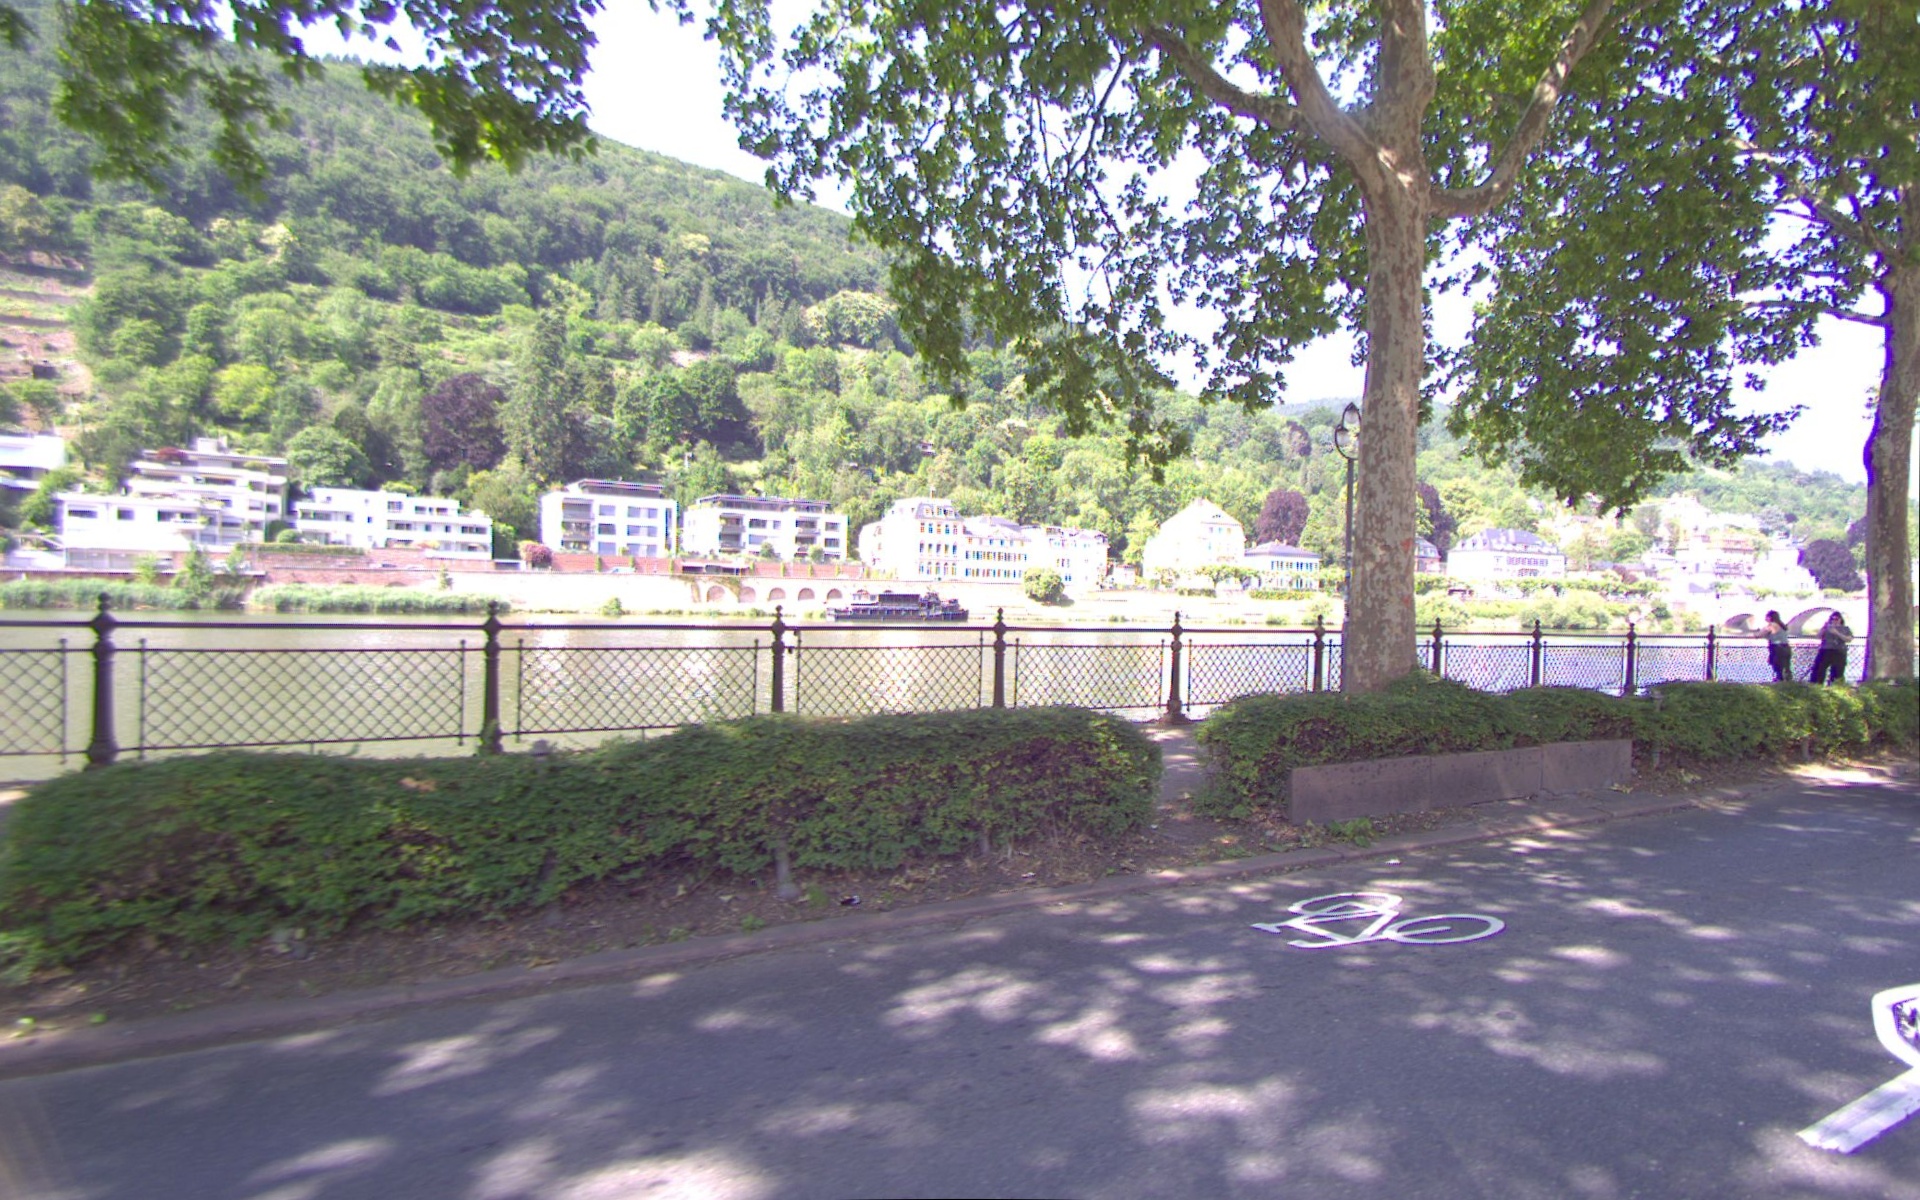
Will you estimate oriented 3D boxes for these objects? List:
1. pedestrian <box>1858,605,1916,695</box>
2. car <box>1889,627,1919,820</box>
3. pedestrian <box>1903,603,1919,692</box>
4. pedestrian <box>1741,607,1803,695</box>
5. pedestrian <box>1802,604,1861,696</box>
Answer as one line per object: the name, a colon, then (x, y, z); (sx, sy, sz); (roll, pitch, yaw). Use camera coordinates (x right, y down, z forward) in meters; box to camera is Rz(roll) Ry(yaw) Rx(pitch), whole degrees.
pedestrian: (18.451, 0.982, 19.991); (0.784, 1.736, 0.650); (1, 0, -30)
car: (9.897, 1.016, 8.488); (4.350, 1.538, 1.694); (2, -3, -29)
pedestrian: (19.340, 0.951, 19.828); (0.773, 1.736, 0.831); (1, 1, -30)
pedestrian: (15.596, 0.968, 19.296); (0.900, 1.630, 0.546); (1, 3, -30)
pedestrian: (16.972, 0.966, 19.556); (0.688, 1.723, 0.616); (1, 1, -30)
